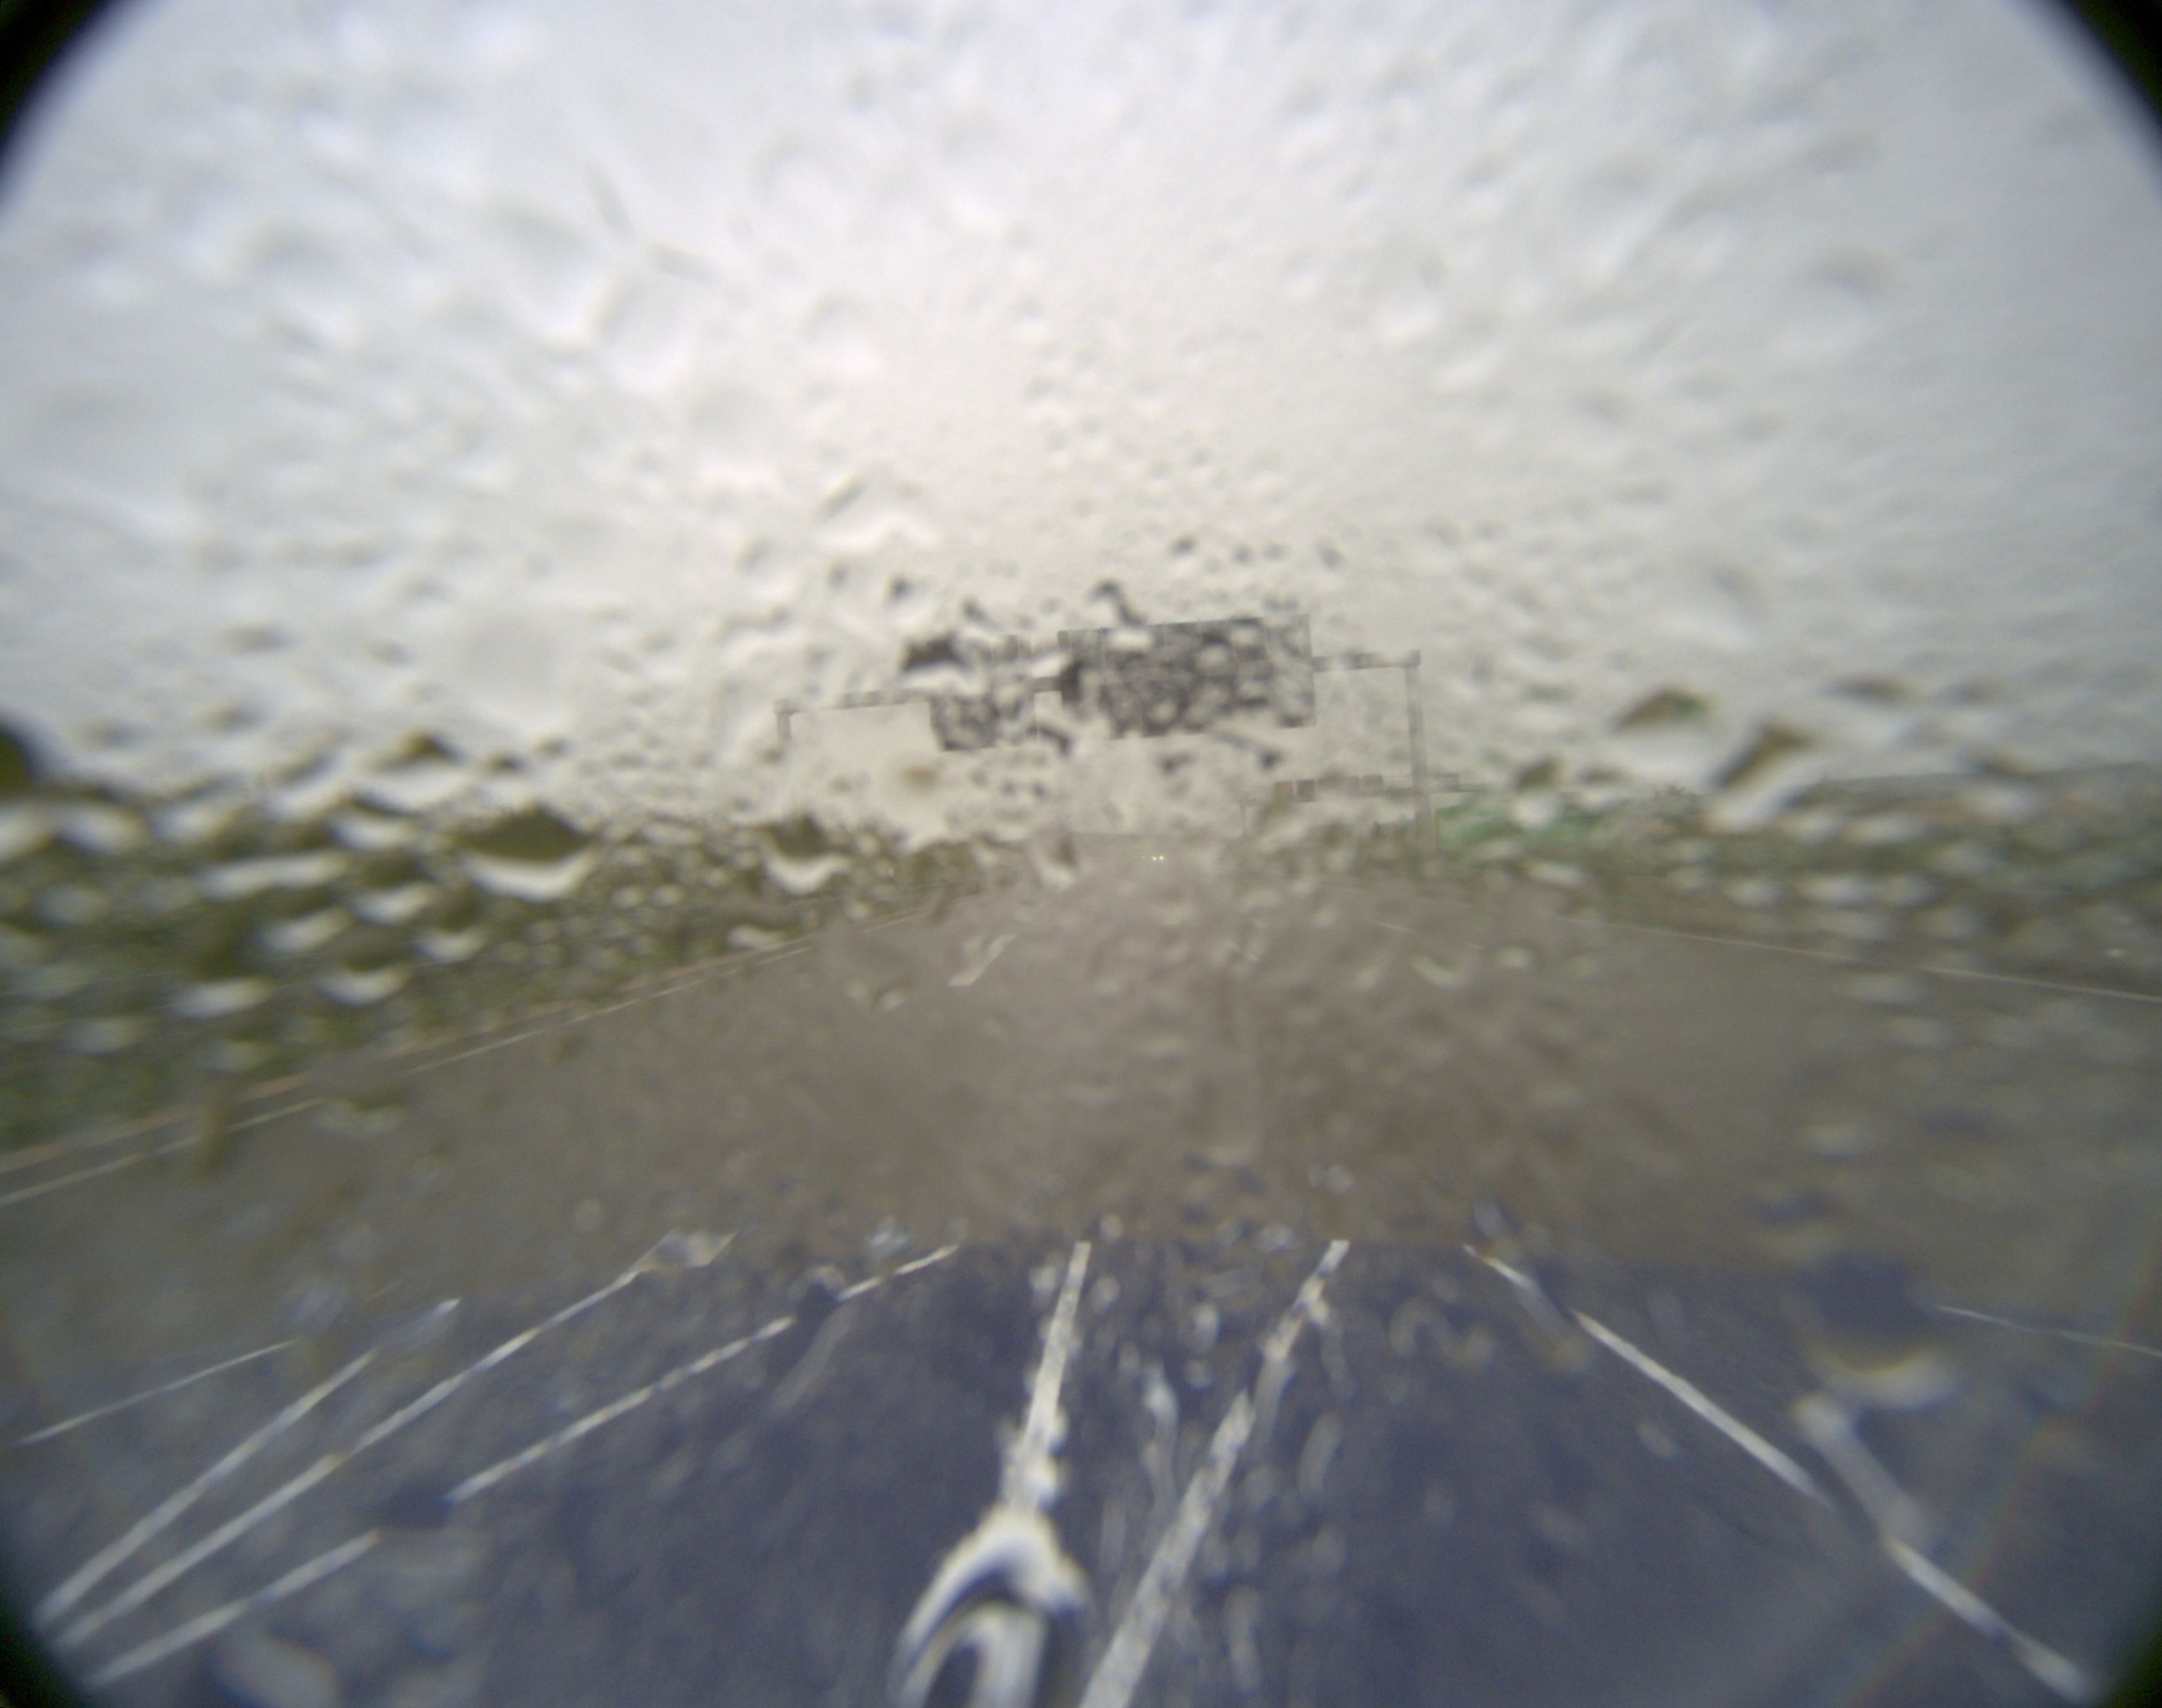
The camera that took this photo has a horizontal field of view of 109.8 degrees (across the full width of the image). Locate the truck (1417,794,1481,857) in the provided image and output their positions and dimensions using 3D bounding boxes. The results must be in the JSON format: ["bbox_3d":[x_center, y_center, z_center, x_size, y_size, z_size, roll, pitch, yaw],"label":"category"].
[{"bbox_3d":[24.891,-1.861,51.621,2.014,3.968,4.820,-2,0,2],"label":"truck"}]

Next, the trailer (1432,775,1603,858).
[{"bbox_3d":[24.675,-1.864,44.320,1.998,4.016,14.303,-2,0,2],"label":"trailer"}]

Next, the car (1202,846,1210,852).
[{"bbox_3d":[32.797,-1.250,199.866,1.698,1.477,4.001,-2,0,4],"label":"car"}]

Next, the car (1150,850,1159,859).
[{"bbox_3d":[13.900,0.152,143.728,1.700,1.543,3.734,-2,0,6],"label":"car"}]

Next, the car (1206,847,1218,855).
[{"bbox_3d":[28.086,-0.622,163.368,1.998,1.674,4.445,-2,0,3],"label":"car"}]
